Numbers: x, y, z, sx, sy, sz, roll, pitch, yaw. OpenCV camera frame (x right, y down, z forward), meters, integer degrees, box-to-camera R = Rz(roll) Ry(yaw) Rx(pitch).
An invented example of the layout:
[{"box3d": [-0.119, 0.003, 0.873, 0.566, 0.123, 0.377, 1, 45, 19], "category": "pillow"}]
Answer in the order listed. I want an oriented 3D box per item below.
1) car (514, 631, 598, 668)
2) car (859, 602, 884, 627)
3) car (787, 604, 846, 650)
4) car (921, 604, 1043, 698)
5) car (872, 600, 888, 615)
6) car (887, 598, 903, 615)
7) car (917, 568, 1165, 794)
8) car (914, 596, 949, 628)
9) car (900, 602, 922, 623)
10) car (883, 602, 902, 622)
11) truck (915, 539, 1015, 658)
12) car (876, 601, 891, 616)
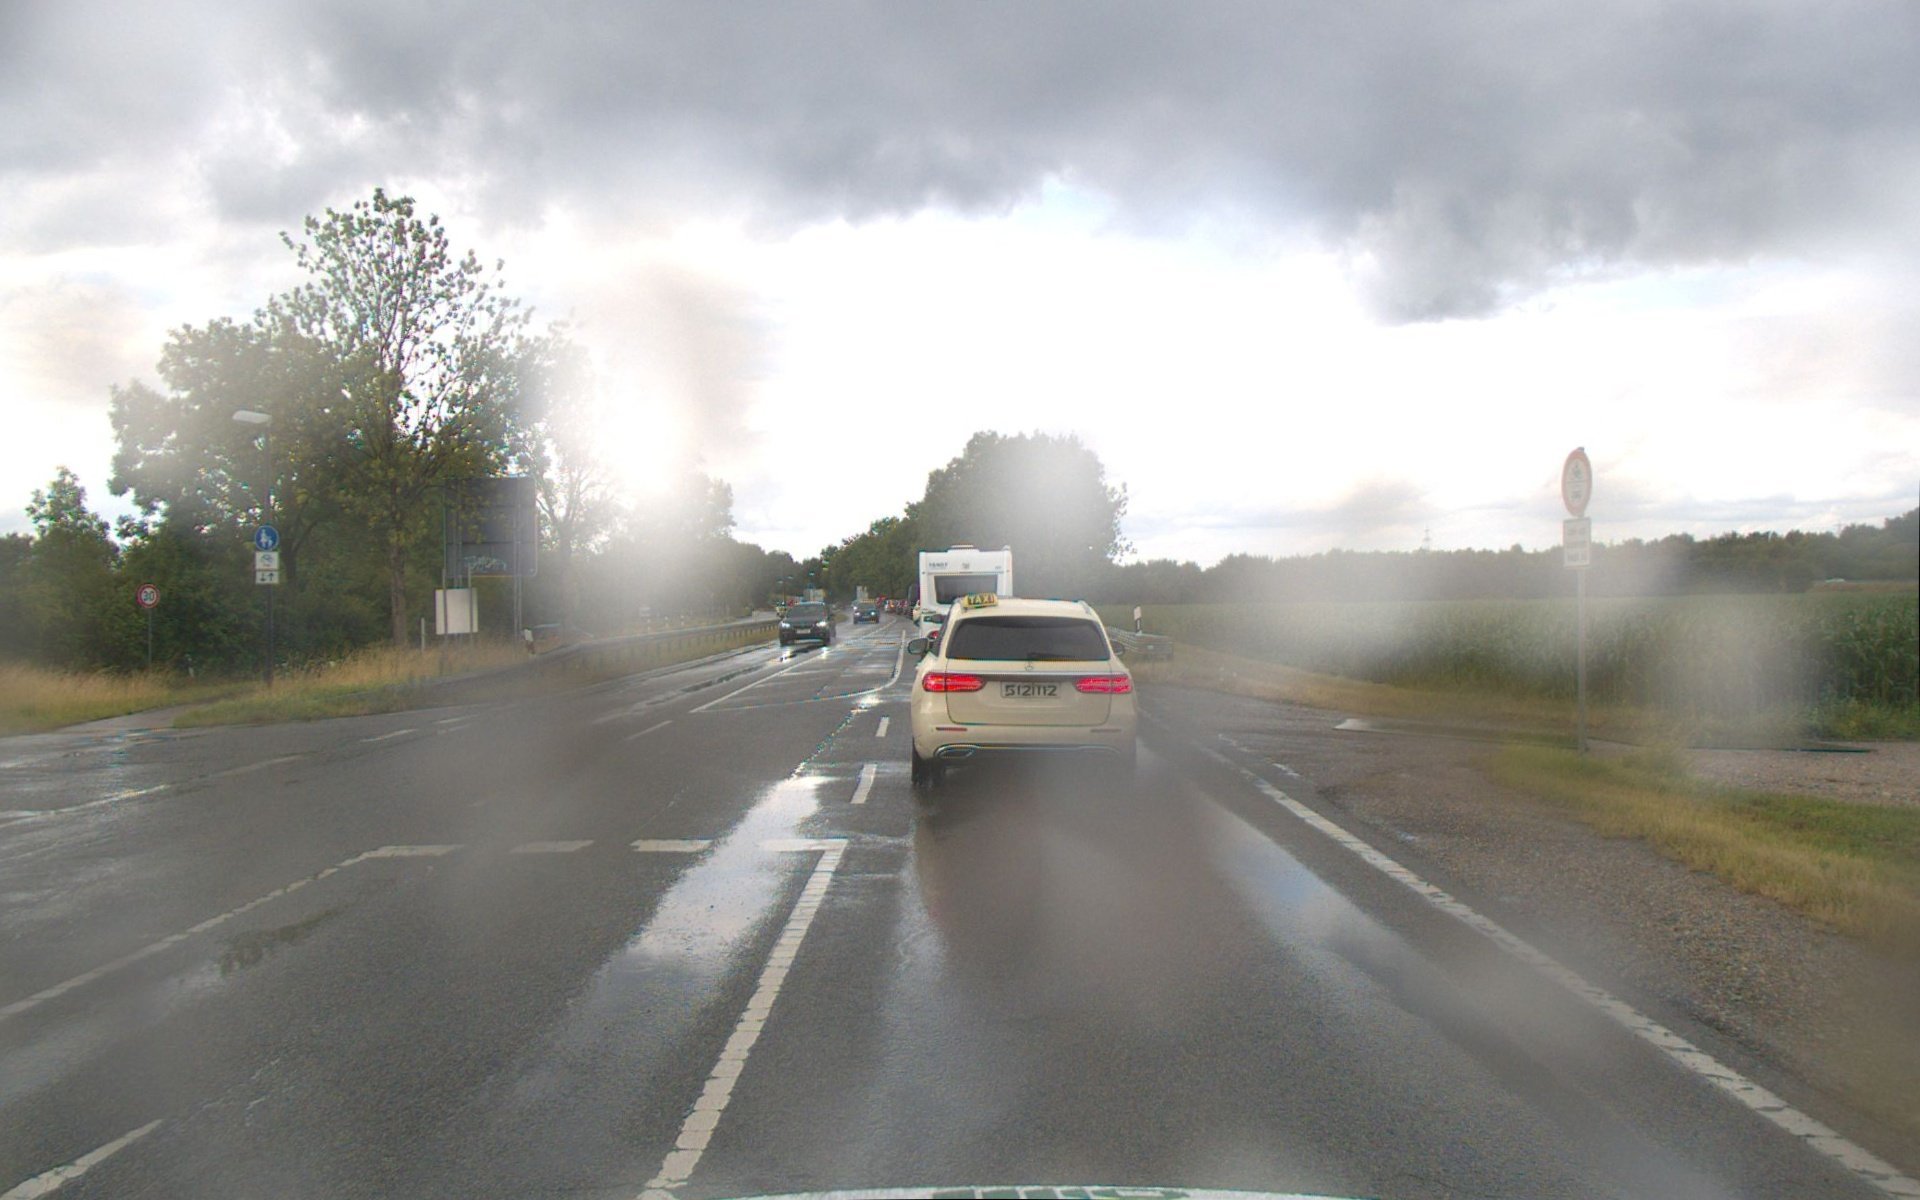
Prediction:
[{"box3d": [-18.541, 2.249, 76.166, 2.253, 1.574, 4.635, 1, 0, 6], "category": "car"}, {"box3d": [-5.998, 0.980, 112.694, 1.548, 1.668, 3.441, -1, 0, -1], "category": "car"}, {"box3d": [-5.247, 0.987, 60.923, 1.791, 1.601, 3.999, 1, 0, 0], "category": "car"}, {"box3d": [0.336, 0.854, 29.330, 1.953, 1.488, 3.999, 2, 0, -1], "category": "car"}, {"box3d": [-10.080, 0.926, 208.599, 1.858, 1.928, 3.840, -1, 0, -4], "category": "car"}, {"box3d": [-7.505, 0.765, 190.162, 1.705, 1.892, 3.784, -1, 0, -1], "category": "car"}, {"box3d": [0.570, 0.600, 14.144, 1.805, 1.646, 3.999, 1, 0, -1], "category": "car"}, {"box3d": [-1.649, 0.701, 98.044, 1.876, 1.873, 3.796, -1, 0, 2], "category": "car"}, {"box3d": [-4.244, 1.066, 143.786, 1.755, 1.808, 3.720, -1, 0, -1], "category": "car"}, {"box3d": [-6.917, 1.253, 170.508, 1.814, 2.049, 3.810, -1, 0, -1], "category": "car"}, {"box3d": [0.072, -0.049, 42.821, 2.315, 2.776, 7.313, -1, 0, -1], "category": "truck"}, {"box3d": [-9.298, 1.021, 199.705, 1.714, 1.691, 3.669, 0, 0, -4], "category": "car"}]
